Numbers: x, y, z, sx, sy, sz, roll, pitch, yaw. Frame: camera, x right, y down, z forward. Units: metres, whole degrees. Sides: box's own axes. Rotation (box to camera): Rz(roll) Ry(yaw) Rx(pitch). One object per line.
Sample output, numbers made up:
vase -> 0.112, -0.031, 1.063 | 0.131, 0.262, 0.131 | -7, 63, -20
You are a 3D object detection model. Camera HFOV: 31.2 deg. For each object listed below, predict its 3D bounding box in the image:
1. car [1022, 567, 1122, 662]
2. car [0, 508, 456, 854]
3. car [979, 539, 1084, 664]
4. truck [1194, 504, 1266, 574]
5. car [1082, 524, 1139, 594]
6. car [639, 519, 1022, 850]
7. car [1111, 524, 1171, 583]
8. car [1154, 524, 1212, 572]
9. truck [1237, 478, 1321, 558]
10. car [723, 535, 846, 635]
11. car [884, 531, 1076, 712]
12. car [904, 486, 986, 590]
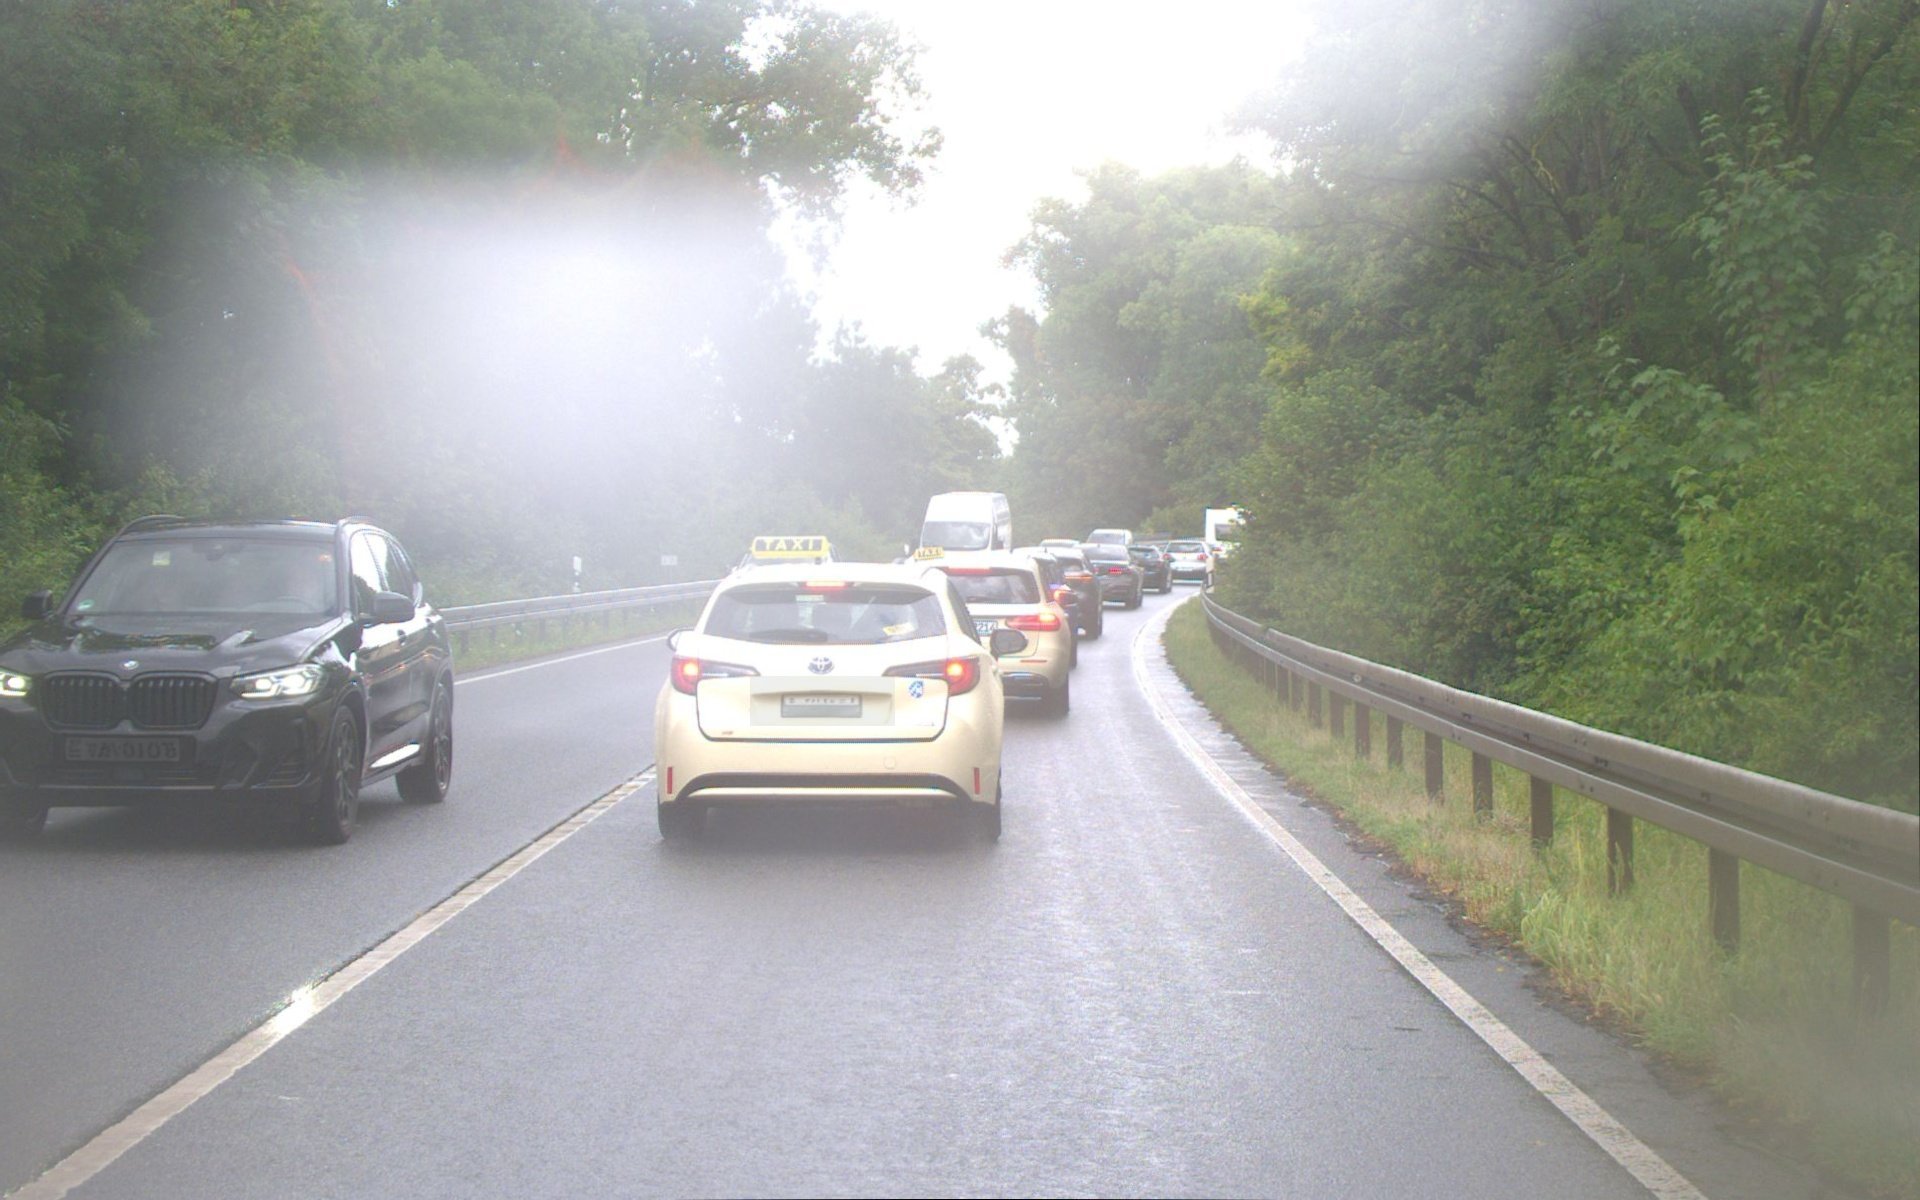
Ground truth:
car -> 1.883, 0.224, 57.475 | 1.611, 1.541, 3.814 | 0, 0, 2
car -> -3.978, 0.355, 18.690 | 1.847, 1.638, 4.298 | 1, 1, 0
car -> 0.906, 0.005, 44.649 | 1.300, 1.541, 3.260 | 1, 0, 0
truck -> 10.810, -2.413, 138.132 | 2.550, 2.704, 7.534 | 1, 0, 2
car -> 3.435, -0.921, 78.136 | 1.167, 1.541, 2.603 | 1, 0, 5
car -> -0.640, 0.398, 18.729 | 1.833, 1.575, 4.157 | 1, 0, 0
car -> 5.107, -1.304, 96.646 | 1.616, 1.607, 3.621 | 1, 0, 3
car -> 7.522, -1.730, 115.856 | 1.770, 1.541, 3.813 | 1, 0, 6
truck -> 15.243, -3.869, 163.884 | 3.109, 3.668, 6.996 | 1, 0, 13
car -> -2.847, -0.284, 56.537 | 1.691, 1.550, 4.442 | 1, 1, 1
car -> 0.201, 0.178, 32.254 | 1.667, 1.575, 3.892 | 1, 0, 1
car -> -0.369, -1.622, 92.068 | 2.048, 2.667, 6.171 | 0, 0, 1
